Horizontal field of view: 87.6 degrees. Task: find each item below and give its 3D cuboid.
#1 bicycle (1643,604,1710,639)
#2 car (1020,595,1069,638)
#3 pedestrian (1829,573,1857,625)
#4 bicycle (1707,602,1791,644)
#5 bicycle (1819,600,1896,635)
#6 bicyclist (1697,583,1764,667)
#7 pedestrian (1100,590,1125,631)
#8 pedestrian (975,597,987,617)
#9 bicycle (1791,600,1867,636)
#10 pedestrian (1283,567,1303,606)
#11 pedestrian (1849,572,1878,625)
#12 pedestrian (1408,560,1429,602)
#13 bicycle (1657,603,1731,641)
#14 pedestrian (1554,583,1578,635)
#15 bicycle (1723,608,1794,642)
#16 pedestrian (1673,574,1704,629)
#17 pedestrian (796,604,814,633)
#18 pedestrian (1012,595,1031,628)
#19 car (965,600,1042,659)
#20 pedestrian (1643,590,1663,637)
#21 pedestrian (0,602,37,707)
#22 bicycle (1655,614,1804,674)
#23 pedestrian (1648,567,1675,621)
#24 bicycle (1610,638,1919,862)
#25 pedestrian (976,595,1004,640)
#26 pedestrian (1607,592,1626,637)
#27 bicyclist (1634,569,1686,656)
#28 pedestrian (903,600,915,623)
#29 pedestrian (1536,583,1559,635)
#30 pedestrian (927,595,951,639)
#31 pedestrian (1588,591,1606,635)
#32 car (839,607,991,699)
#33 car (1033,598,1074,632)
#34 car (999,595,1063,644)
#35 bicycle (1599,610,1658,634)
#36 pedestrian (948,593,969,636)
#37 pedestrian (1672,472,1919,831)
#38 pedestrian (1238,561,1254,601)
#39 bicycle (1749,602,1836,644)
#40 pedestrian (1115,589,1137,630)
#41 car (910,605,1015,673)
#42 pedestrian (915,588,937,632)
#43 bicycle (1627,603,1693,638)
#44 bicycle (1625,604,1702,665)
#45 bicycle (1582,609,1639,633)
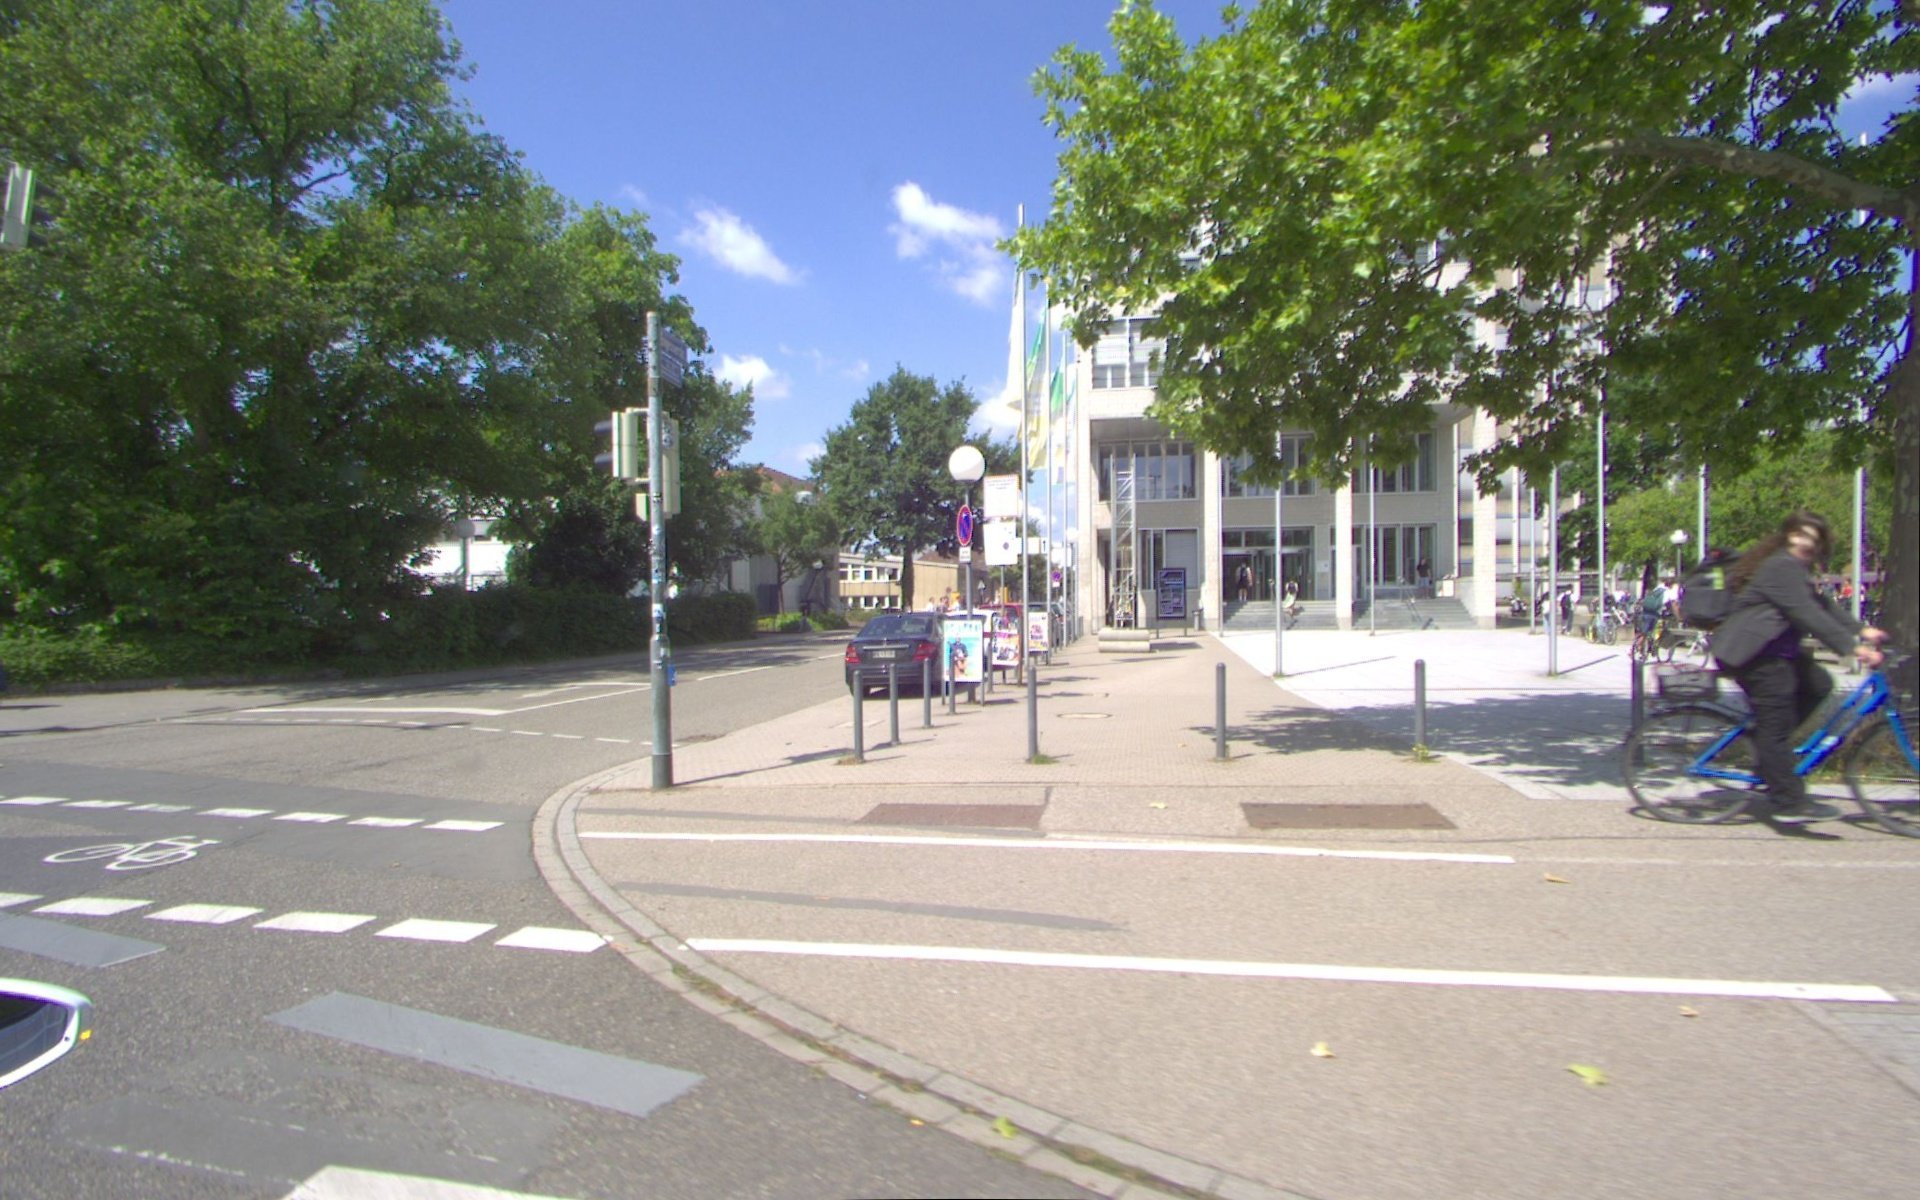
[{"bbox_3d":[23.830,0.736,33.330,0.593,1.113,1.764,0,-2,-20],"label":"bicycle"},{"bbox_3d":[3.441,0.634,39.960,1.692,1.549,4.565,-2,0,7],"label":"car"},{"bbox_3d":[38.790,-0.029,43.996,0.704,2.258,0.633,0,-1,-20],"label":"pedestrian"},{"bbox_3d":[21.732,0.657,27.627,0.593,1.113,1.764,0,-2,-20],"label":"bicycle"},{"bbox_3d":[29.030,0.580,32.429,0.593,1.113,1.764,0,-2,-20],"label":"bicycle"},{"bbox_3d":[15.081,0.475,19.595,0.655,1.585,0.925,-1,1,-40],"label":"bicyclist"},{"bbox_3d":[6.261,0.441,41.149,0.681,1.661,0.735,-1,1,-27],"label":"pedestrian"},{"bbox_3d":[2.034,0.688,95.391,1.039,1.840,0.805,-1,1,9],"label":"pedestrian"},{"bbox_3d":[27.833,0.601,32.106,0.593,1.113,1.764,0,-2,-20],"label":"bicycle"},{"bbox_3d":[13.967,-0.557,41.990,0.707,1.605,0.716,-1,-1,13],"label":"pedestrian"},{"bbox_3d":[38.961,-0.065,43.163,0.704,2.258,0.633,0,-1,-20],"label":"pedestrian"},{"bbox_3d":[20.622,-0.849,45.079,0.707,1.821,0.716,-1,-1,13],"label":"pedestrian"},{"bbox_3d":[22.074,0.685,30.139,0.593,1.113,1.764,0,-2,-20],"label":"bicycle"},{"bbox_3d":[20.859,0.316,34.472,0.624,1.769,0.714,-1,-1,28],"label":"pedestrian"},{"bbox_3d":[26.364,0.839,33.084,0.593,1.113,1.764,0,-2,-20],"label":"bicycle"},{"bbox_3d":[30.359,0.093,41.747,0.626,2.258,0.849,0,-1,-34],"label":"pedestrian"},{"bbox_3d":[-8.305,0.973,53.762,0.837,1.540,0.520,-1,-1,14],"label":"pedestrian"},{"bbox_3d":[3.256,0.613,53.102,0.614,1.740,1.037,-1,0,-21],"label":"pedestrian"},{"bbox_3d":[1.343,0.816,29.194,1.589,1.516,4.143,-3,0,11],"label":"car"},{"bbox_3d":[33.642,0.661,48.627,0.706,2.258,0.631,-1,-1,29],"label":"pedestrian"},{"bbox_3d":[-15.804,0.857,16.186,1.002,1.648,0.855,1,2,-16],"label":"pedestrian"},{"bbox_3d":[15.047,0.875,19.633,0.894,1.092,2.137,0,-3,-40],"label":"bicycle"},{"bbox_3d":[29.857,-0.243,42.623,0.623,2.258,0.715,0,-1,-20],"label":"pedestrian"},{"bbox_3d":[4.817,0.791,5.636,1.861,1.088,0.814,-1,3,27],"label":"bicycle"},{"bbox_3d":[1.325,0.775,43.729,1.078,1.945,1.020,0,0,12],"label":"pedestrian"},{"bbox_3d":[33.499,0.756,51.109,0.706,2.258,0.631,-1,-1,29],"label":"pedestrian"},{"bbox_3d":[15.406,0.280,22.052,0.751,1.869,0.659,0,-1,-30],"label":"bicyclist"},{"bbox_3d":[-3.673,0.809,72.155,0.702,1.648,0.883,0,1,9],"label":"pedestrian"},{"bbox_3d":[20.284,0.325,34.594,0.624,1.769,0.714,-1,-1,28],"label":"pedestrian"},{"bbox_3d":[-0.952,0.768,44.931,0.773,1.951,0.730,0,1,33],"label":"pedestrian"},{"bbox_3d":[32.675,0.668,51.394,0.706,2.258,0.631,-1,-1,29],"label":"pedestrian"},{"bbox_3d":[-0.660,0.874,18.586,1.691,1.418,4.945,-2,-1,11],"label":"car"},{"bbox_3d":[4.366,0.665,46.337,1.588,1.516,4.004,0,0,9],"label":"car"},{"bbox_3d":[2.481,0.654,34.190,1.692,1.549,3.997,-1,0,11],"label":"car"},{"bbox_3d":[23.243,0.746,34.831,1.733,0.803,0.520,-1,1,-2],"label":"bicycle"},{"bbox_3d":[-0.082,0.646,45.353,0.714,1.951,0.749,0,1,23],"label":"pedestrian"},{"bbox_3d":[4.795,0.251,5.633,1.157,1.845,0.852,-1,4,27],"label":"pedestrian"},{"bbox_3d":[12.463,-0.806,43.603,0.622,1.687,0.716,-1,-1,13],"label":"pedestrian"},{"bbox_3d":[22.786,0.651,27.432,0.593,1.113,1.764,0,-2,-20],"label":"bicycle"},{"bbox_3d":[7.294,0.400,44.013,0.903,1.763,1.001,0,0,11],"label":"pedestrian"},{"bbox_3d":[0.167,0.880,24.219,1.691,1.418,4.436,-3,-1,11],"label":"car"},{"bbox_3d":[-1.494,0.434,44.443,0.775,1.951,0.590,0,1,33],"label":"pedestrian"},{"bbox_3d":[23.143,0.699,33.144,0.593,1.113,1.764,0,-2,-20],"label":"bicycle"},{"bbox_3d":[15.553,0.756,22.133,1.847,1.313,0.659,1,-2,-29],"label":"bicycle"},{"bbox_3d":[23.364,0.751,35.959,1.733,0.803,0.520,-1,1,-2],"label":"bicycle"}]
